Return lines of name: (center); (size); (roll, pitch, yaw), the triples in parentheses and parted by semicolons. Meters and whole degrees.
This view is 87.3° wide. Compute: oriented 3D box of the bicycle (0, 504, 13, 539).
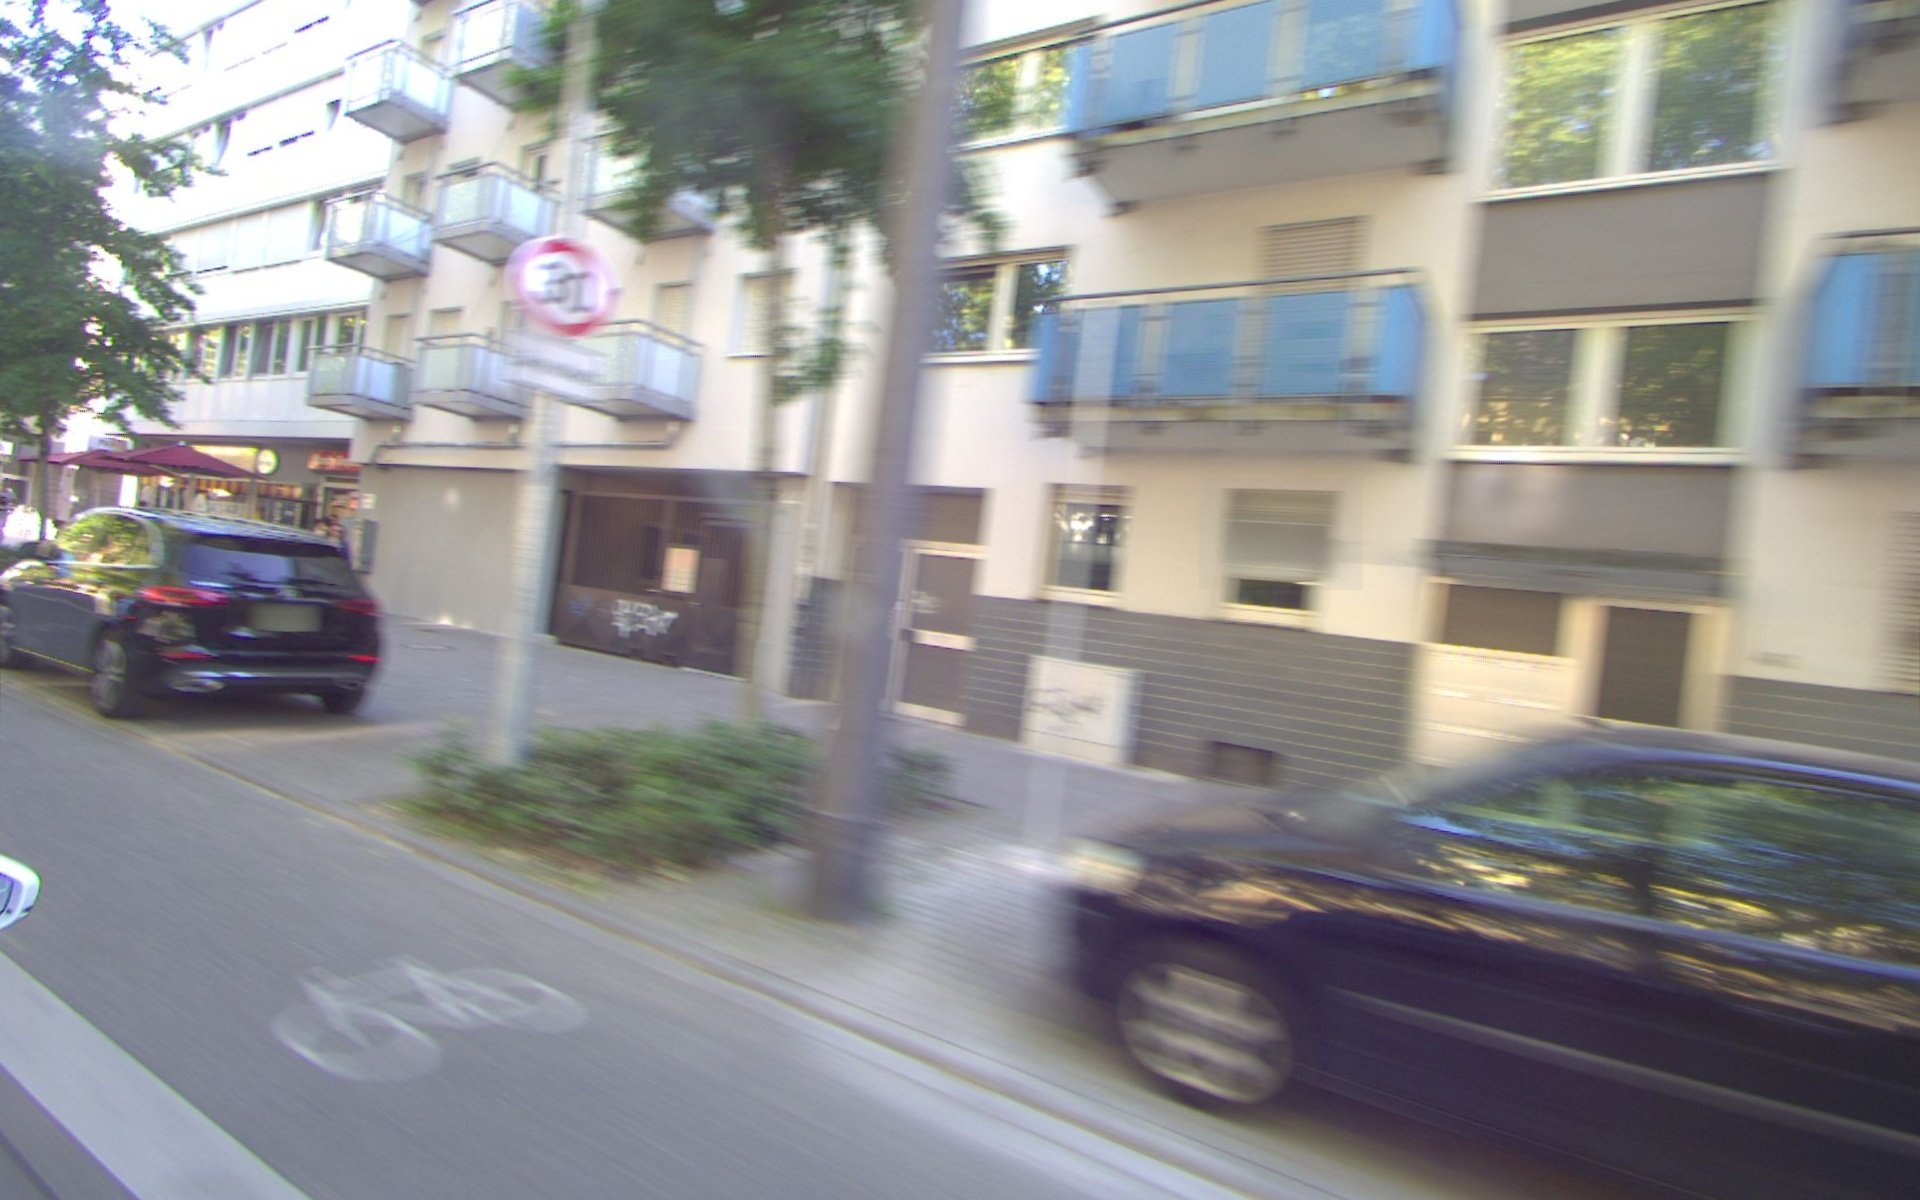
bicycle: (-35.000, -2.914, 35.683); (0.502, 1.222, 1.918); (8, 0, 29)

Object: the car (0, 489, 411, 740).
car: (-6.842, -0.013, 8.722); (4.258, 1.609, 1.759); (6, 2, 32)

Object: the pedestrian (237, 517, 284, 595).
pedestrian: (-15.616, -0.978, 22.468); (0.509, 1.647, 0.507); (7, -1, -5)

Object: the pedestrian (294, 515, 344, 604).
pedestrian: (-13.887, -0.856, 21.809); (0.519, 1.826, 0.630); (8, -1, -14)

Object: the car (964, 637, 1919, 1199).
car: (2.133, 1.120, 3.515); (3.824, 1.501, 1.624); (7, 1, 30)

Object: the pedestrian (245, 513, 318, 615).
pedestrian: (-11.827, -0.620, 17.547); (0.855, 1.659, 0.642); (7, 2, 31)

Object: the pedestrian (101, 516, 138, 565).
pedestrian: (-24.413, -1.721, 29.216); (0.704, 1.302, 0.536); (6, -2, 34)

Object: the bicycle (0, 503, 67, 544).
bicycle: (-35.549, -2.925, 38.458); (0.502, 1.221, 1.919); (6, -3, 29)

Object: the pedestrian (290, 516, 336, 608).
pedestrian: (-13.338, -0.781, 20.752); (0.481, 1.816, 0.432); (6, -1, 32)

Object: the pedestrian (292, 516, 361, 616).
pedestrian: (-11.458, -0.608, 18.191); (0.919, 1.699, 0.596); (6, 2, 31)

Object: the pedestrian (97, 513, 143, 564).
pedestrian: (-21.697, -1.594, 25.989); (0.513, 1.188, 0.660); (6, -2, 31)

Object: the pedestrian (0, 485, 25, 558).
pedestrian: (-24.872, -2.065, 26.026); (0.979, 1.804, 0.591); (6, -1, 31)

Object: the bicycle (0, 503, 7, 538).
bicycle: (-35.461, -2.987, 35.943); (0.502, 1.222, 1.918); (8, 0, 29)

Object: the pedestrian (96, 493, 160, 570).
pedestrian: (-19.991, -1.637, 24.179); (0.667, 1.678, 0.814); (7, -2, 27)

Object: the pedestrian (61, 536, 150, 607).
pedestrian: (-14.417, -0.480, 16.977); (0.652, 1.039, 0.997); (6, -2, 44)

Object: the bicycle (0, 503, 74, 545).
bicycle: (-34.986, -2.869, 38.133); (0.502, 1.221, 1.919); (7, -3, 29)

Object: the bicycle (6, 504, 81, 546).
bicycle: (-34.463, -2.801, 37.839); (0.502, 1.221, 1.919); (8, -1, 29)

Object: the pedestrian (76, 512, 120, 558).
pedestrian: (-22.786, -1.712, 26.589); (0.513, 1.091, 0.643); (6, -2, 31)
